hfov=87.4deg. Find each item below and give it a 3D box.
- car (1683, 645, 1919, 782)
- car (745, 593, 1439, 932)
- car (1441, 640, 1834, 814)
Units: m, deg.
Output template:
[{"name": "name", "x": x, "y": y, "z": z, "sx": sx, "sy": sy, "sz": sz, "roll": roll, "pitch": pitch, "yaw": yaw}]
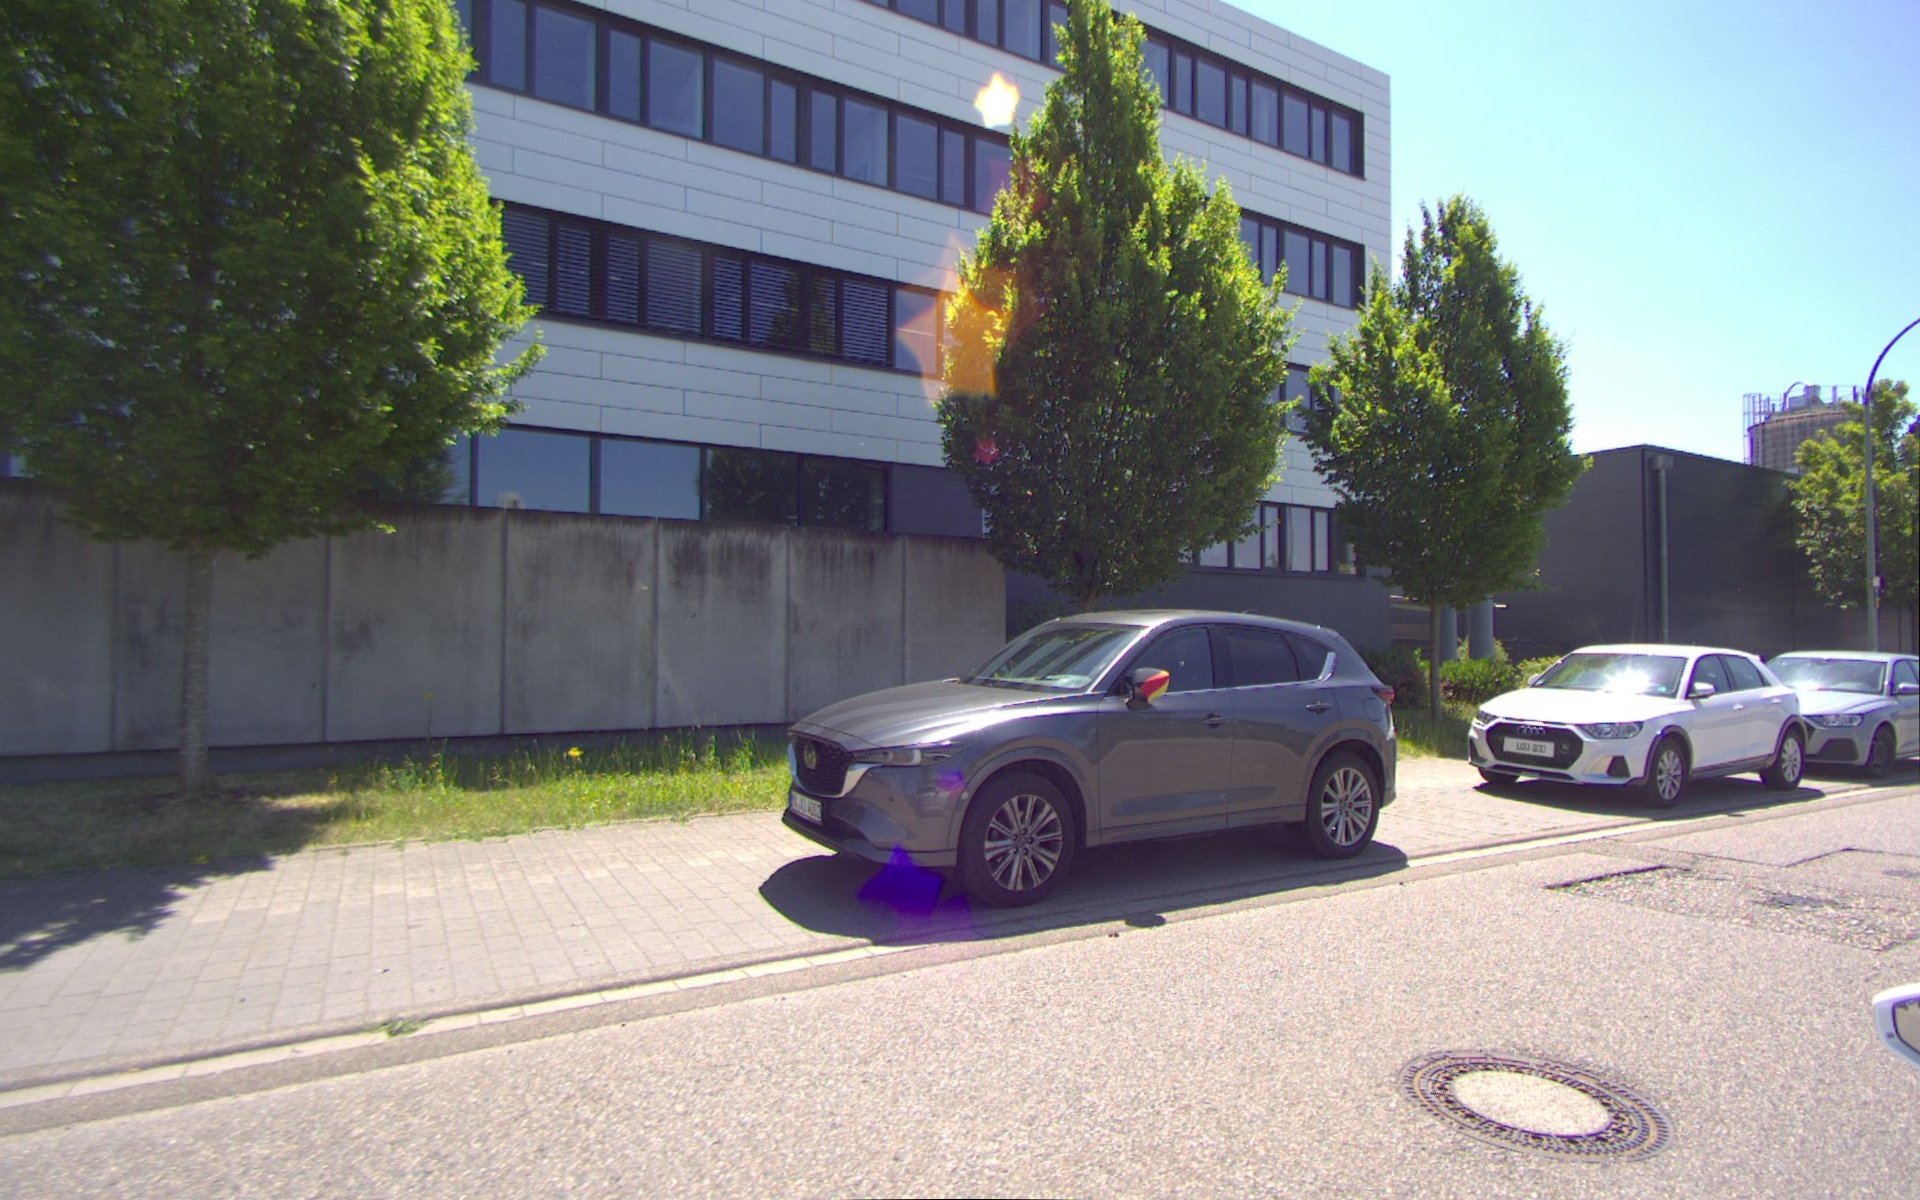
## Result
[{"name": "car", "x": 11.135, "y": 1.334, "z": 12.743, "sx": 3.894, "sy": 1.450, "sz": 1.762, "roll": 2, "pitch": -2, "yaw": -30}, {"name": "car", "x": 1.027, "y": 0.864, "z": 6.797, "sx": 4.528, "sy": 1.645, "sz": 1.762, "roll": 2, "pitch": -2, "yaw": -30}, {"name": "car", "x": 7.078, "y": 1.171, "z": 10.403, "sx": 4.151, "sy": 1.450, "sz": 1.762, "roll": 2, "pitch": -2, "yaw": -30}]
